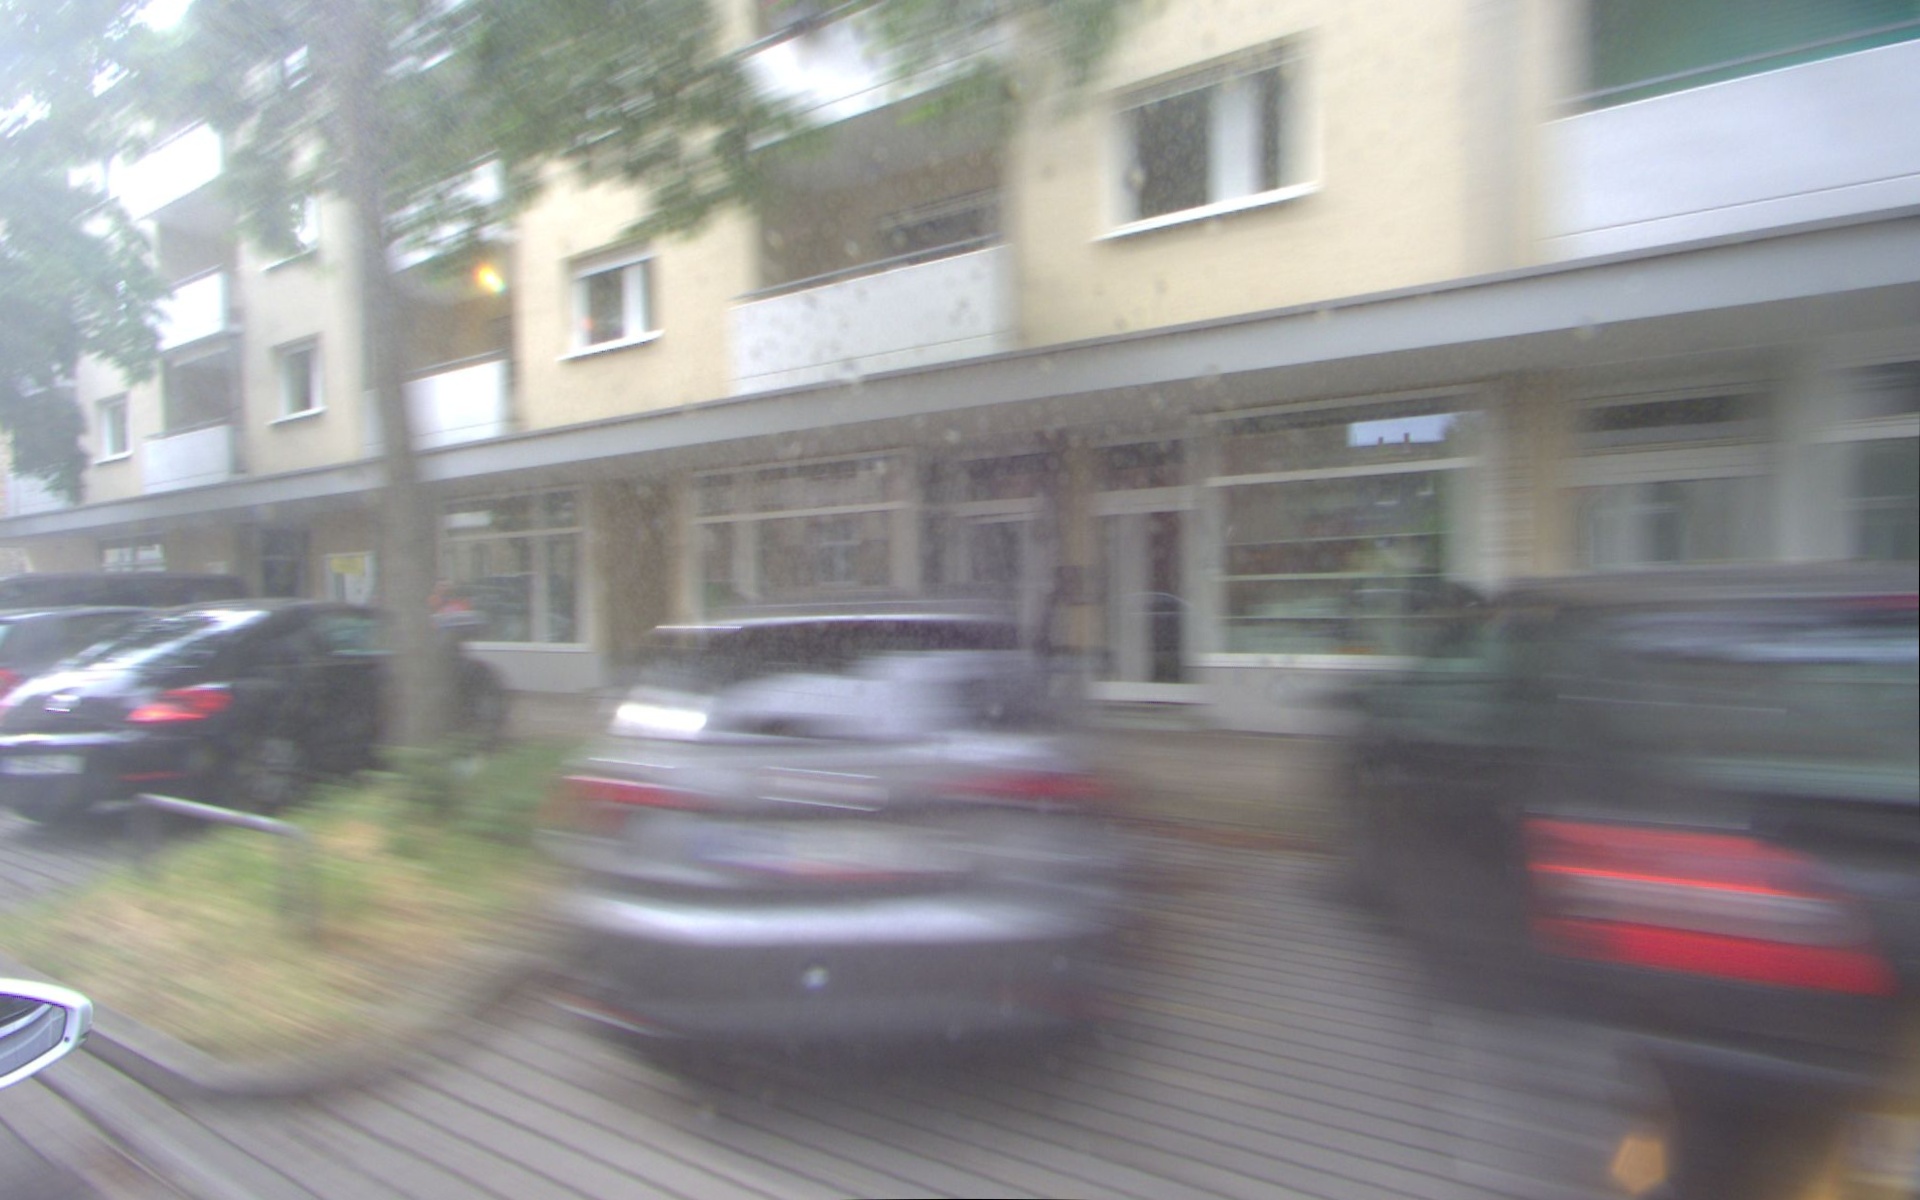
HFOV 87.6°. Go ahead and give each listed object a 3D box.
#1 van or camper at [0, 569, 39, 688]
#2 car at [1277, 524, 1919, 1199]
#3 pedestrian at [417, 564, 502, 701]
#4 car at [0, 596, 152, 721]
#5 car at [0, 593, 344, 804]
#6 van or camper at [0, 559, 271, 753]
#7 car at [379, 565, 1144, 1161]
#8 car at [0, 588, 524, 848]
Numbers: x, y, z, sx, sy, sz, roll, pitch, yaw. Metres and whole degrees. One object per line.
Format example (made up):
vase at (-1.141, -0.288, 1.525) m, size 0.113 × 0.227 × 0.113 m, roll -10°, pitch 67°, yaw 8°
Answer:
van or camper at (-17.488, 0.573, 15.320) m, size 1.962 × 2.020 × 4.742 m, roll -3°, pitch 1°, yaw 7°
car at (2.322, 0.606, 3.283) m, size 1.816 × 1.517 × 3.369 m, roll -1°, pitch 1°, yaw 6°
pedestrian at (-6.683, 0.418, 13.371) m, size 0.837 × 1.765 × 0.622 m, roll 0°, pitch 2°, yaw 32°
car at (-12.636, 0.763, 12.462) m, size 1.806 × 1.464 × 4.005 m, roll -1°, pitch 2°, yaw 1°
car at (-7.948, 0.734, 9.301) m, size 1.876 × 1.522 × 3.860 m, roll -1°, pitch 1°, yaw 3°
van or camper at (-10.347, 0.552, 10.744) m, size 2.086 × 1.895 × 5.019 m, roll -1°, pitch 1°, yaw 5°
car at (-0.404, 0.642, 4.689) m, size 1.937 × 1.521 × 4.224 m, roll -2°, pitch 2°, yaw 3°
car at (-5.473, 0.690, 7.960) m, size 1.910 × 1.503 × 4.050 m, roll -1°, pitch 1°, yaw 6°
